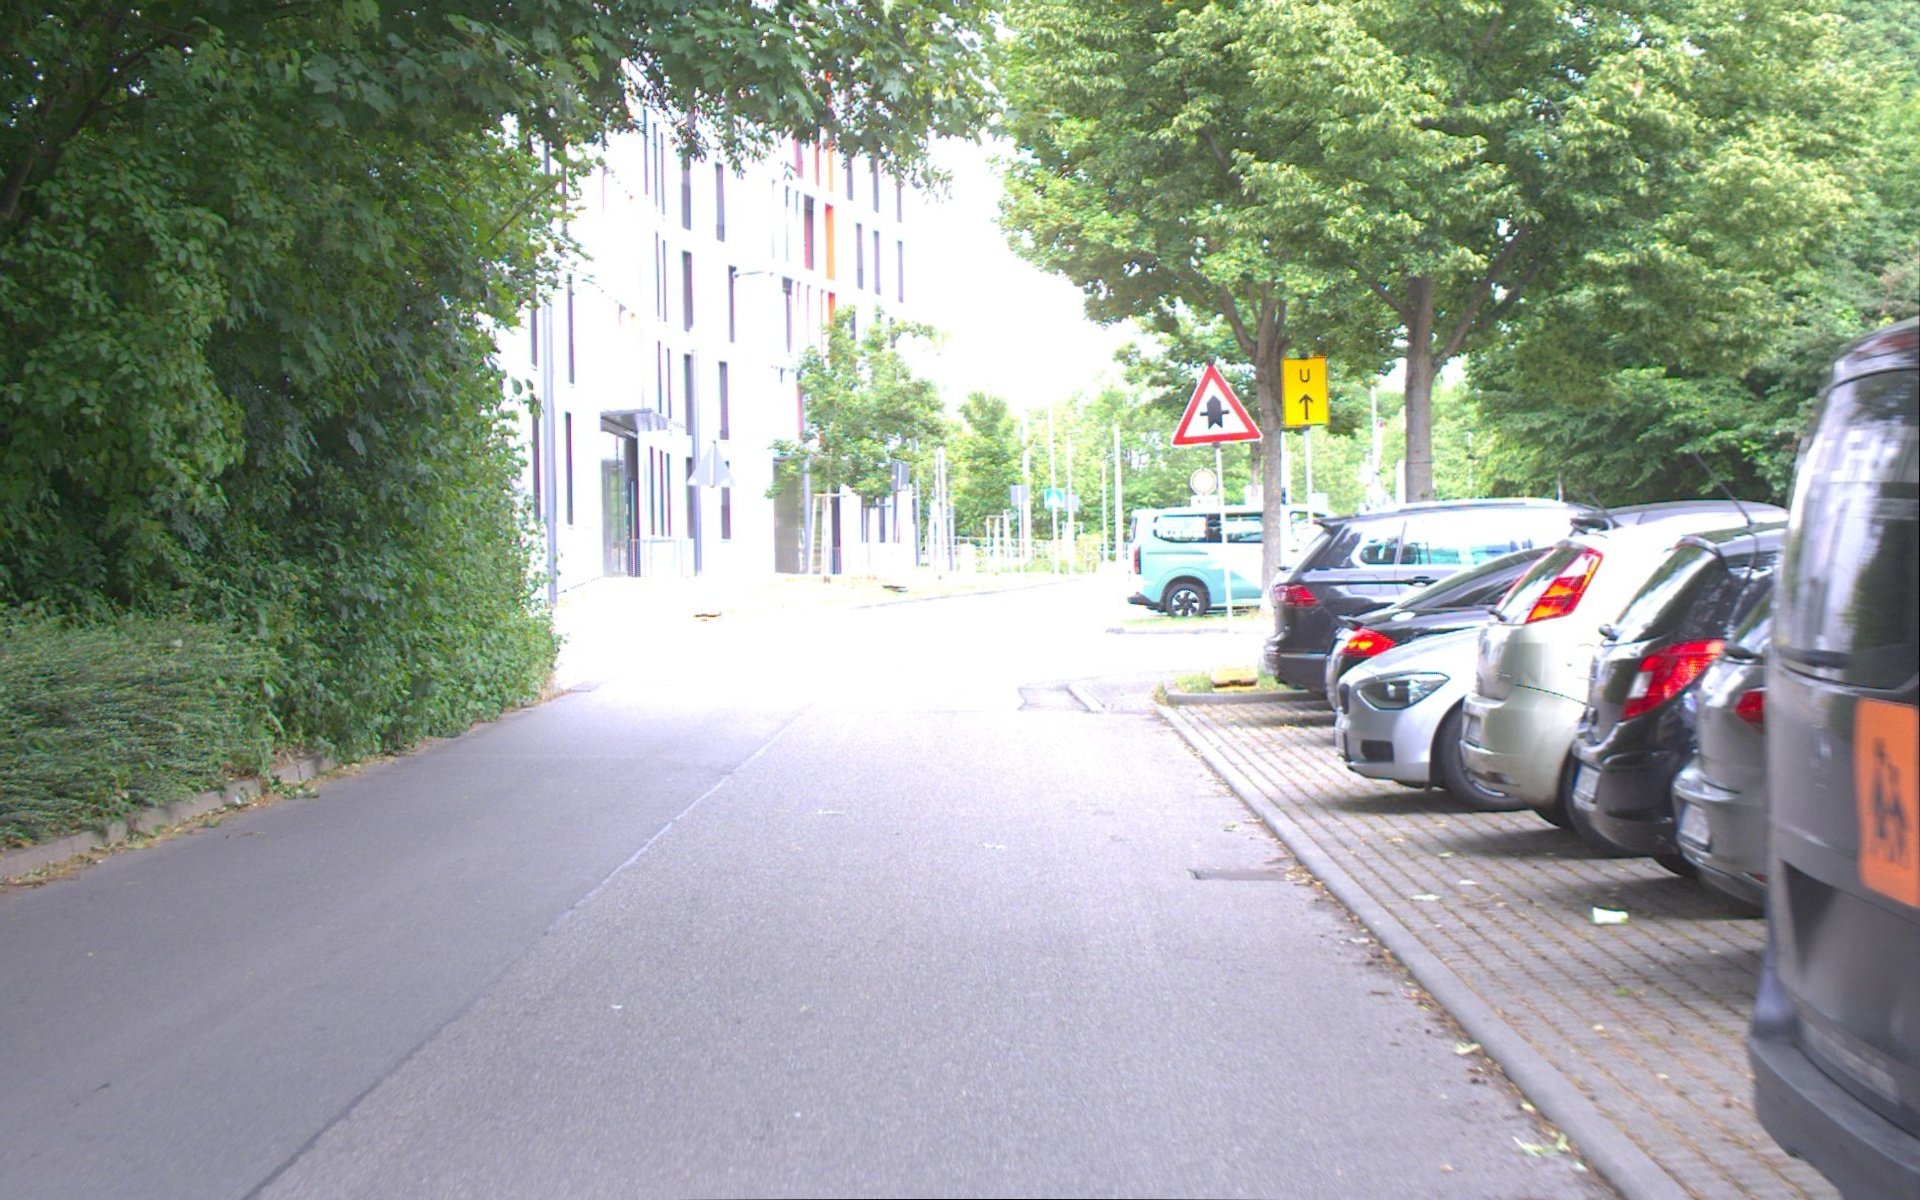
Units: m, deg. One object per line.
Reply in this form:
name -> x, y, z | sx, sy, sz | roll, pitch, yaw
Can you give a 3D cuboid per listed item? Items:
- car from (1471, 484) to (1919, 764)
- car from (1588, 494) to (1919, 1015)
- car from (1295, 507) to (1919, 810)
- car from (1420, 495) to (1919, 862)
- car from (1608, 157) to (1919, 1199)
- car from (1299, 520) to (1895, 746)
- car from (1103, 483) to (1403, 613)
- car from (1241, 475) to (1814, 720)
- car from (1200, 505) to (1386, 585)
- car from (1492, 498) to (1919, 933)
car -> 5.217, 0.105, 21.136 | 3.832, 1.553, 1.819 | -2, 0, 1
car -> 4.178, 0.357, 11.042 | 3.961, 1.506, 1.793 | -3, 1, 2
car -> 3.908, 0.271, 18.492 | 3.987, 1.425, 1.935 | -2, 0, 1
car -> 4.249, 0.296, 15.882 | 3.987, 1.522, 1.811 | -2, 0, 2
car -> 3.836, 0.210, 5.992 | 4.954, 2.007, 2.166 | -3, 1, 2
car -> 4.311, 0.216, 23.768 | 3.833, 1.354, 1.822 | -2, 0, 5
car -> 4.997, -0.895, 59.098 | 4.973, 1.965, 1.847 | -3, 1, 2
car -> 4.257, -0.025, 26.380 | 4.124, 1.644, 1.980 | -2, 0, 5
car -> 7.971, -1.327, 82.404 | 4.379, 1.897, 1.936 | 0, 1, 6
car -> 4.177, 0.337, 13.283 | 3.961, 1.506, 1.763 | -3, 1, 3
